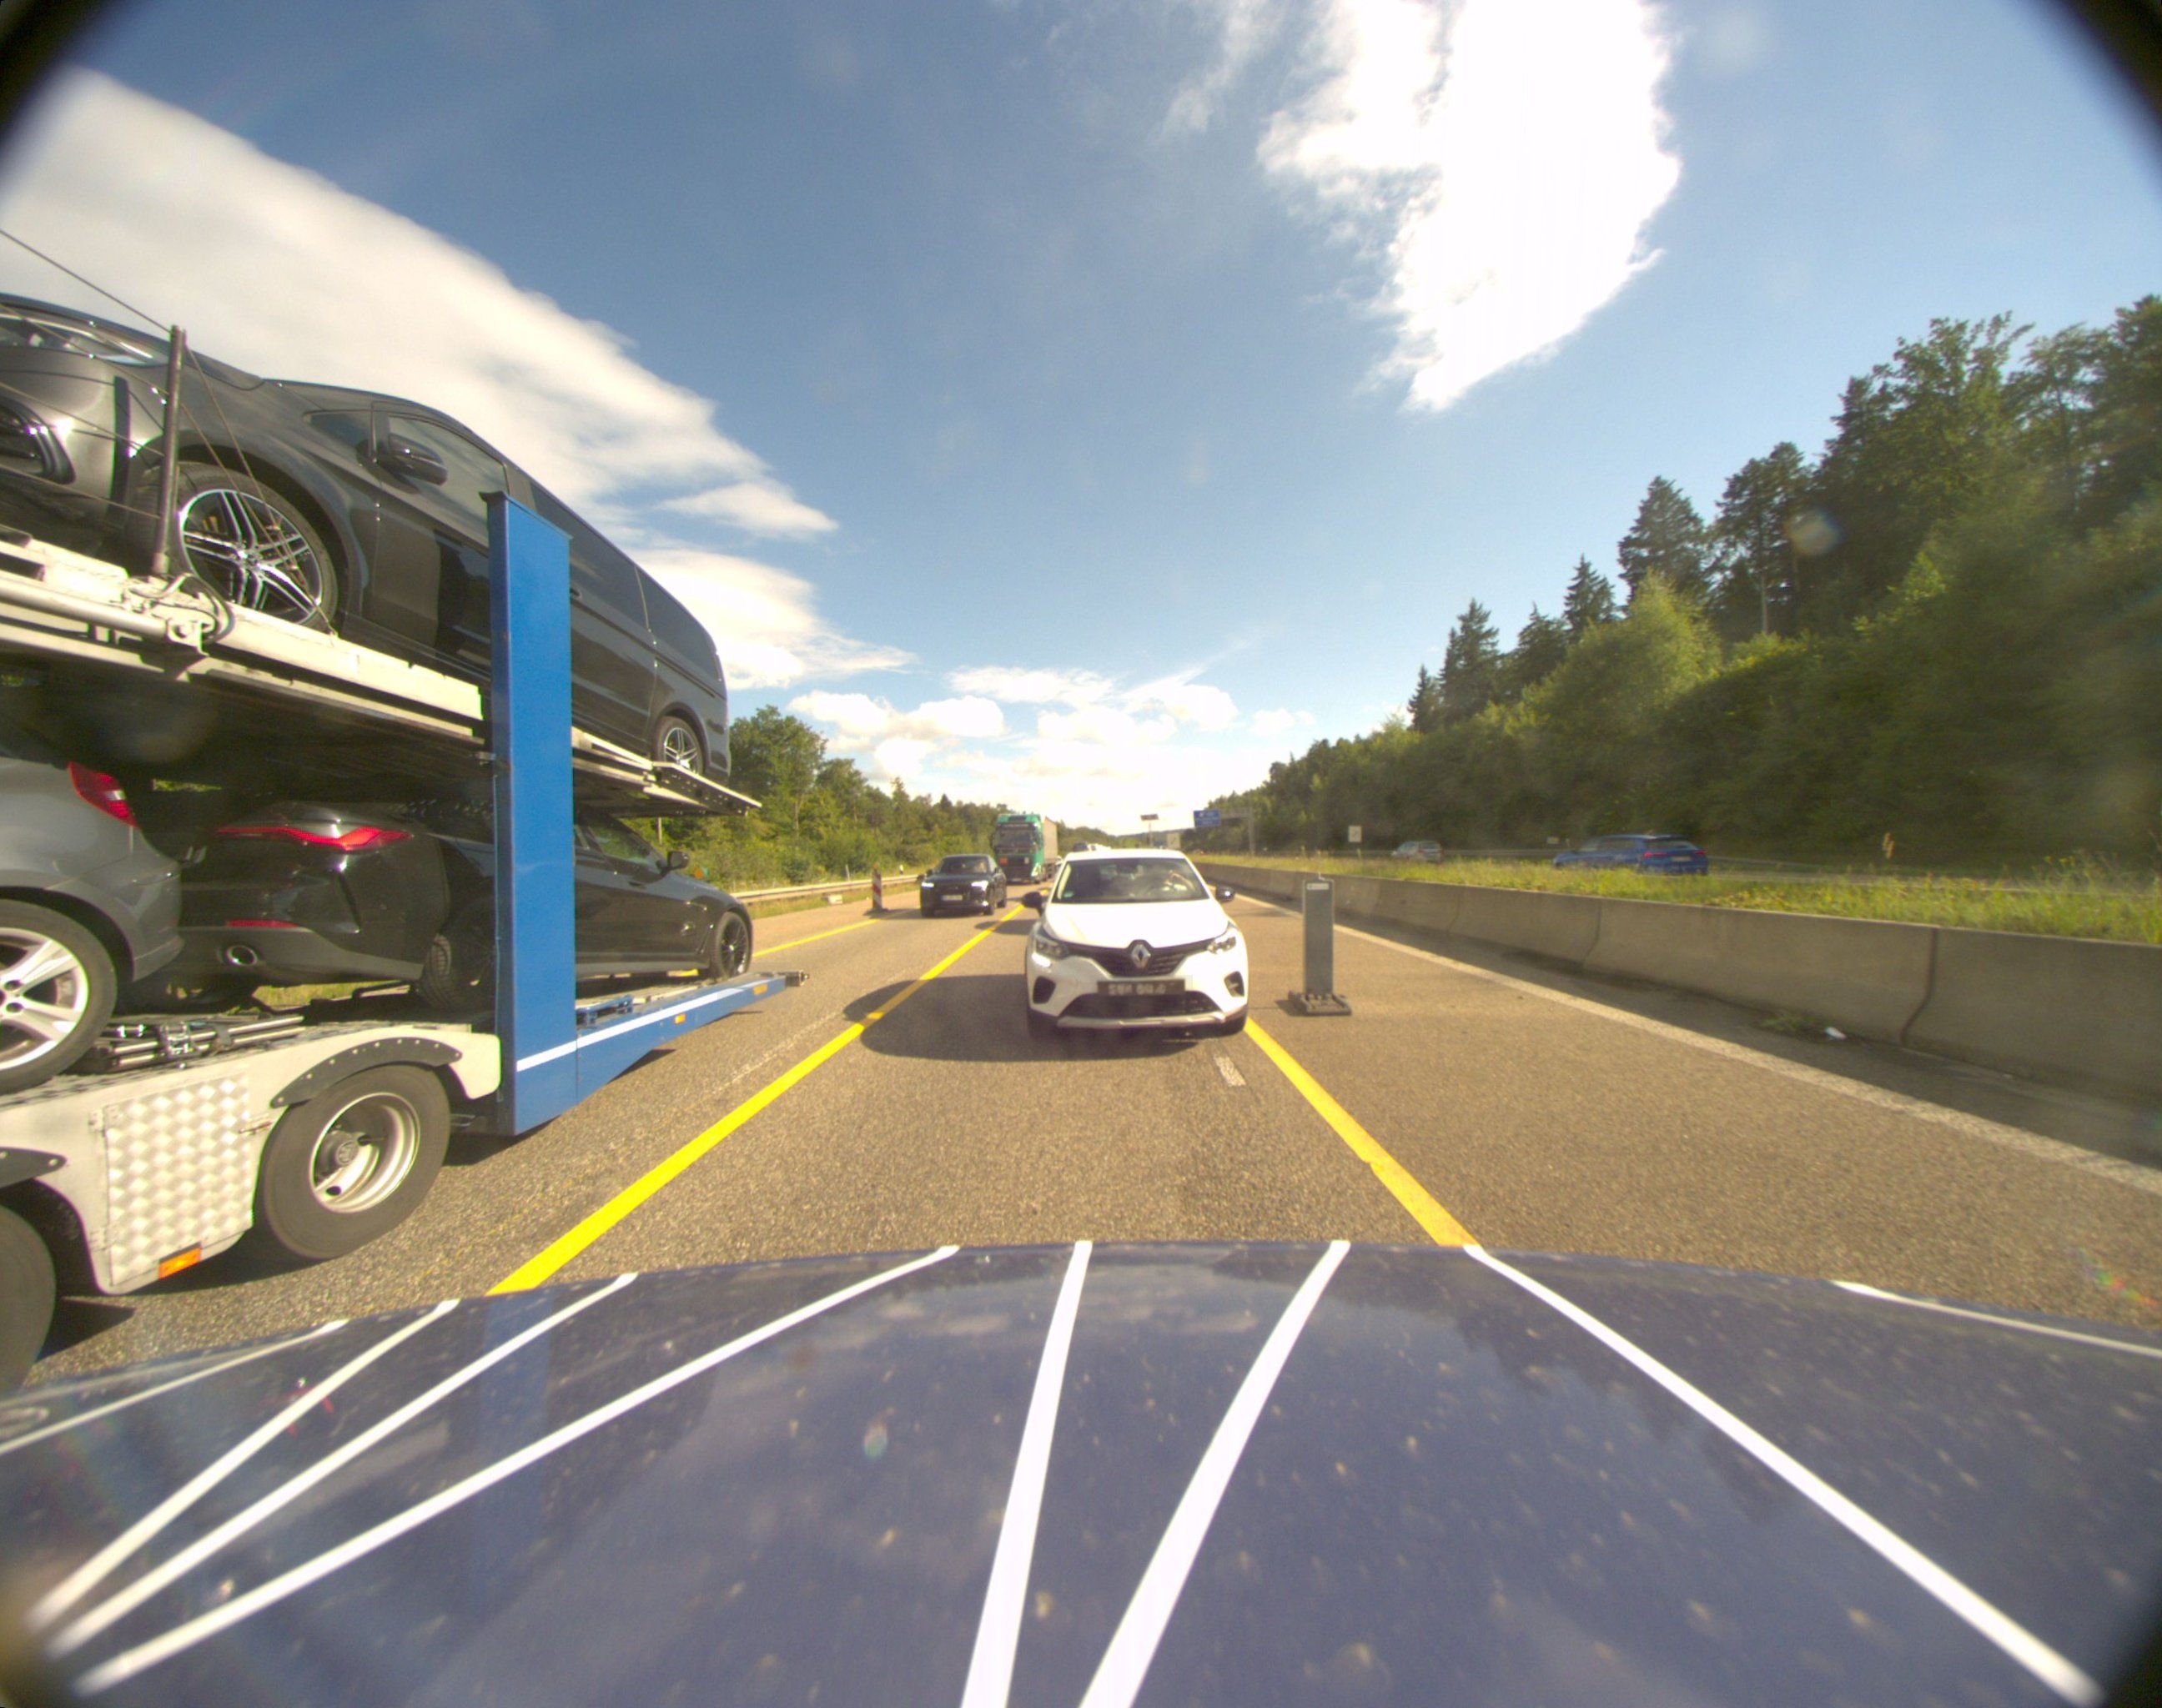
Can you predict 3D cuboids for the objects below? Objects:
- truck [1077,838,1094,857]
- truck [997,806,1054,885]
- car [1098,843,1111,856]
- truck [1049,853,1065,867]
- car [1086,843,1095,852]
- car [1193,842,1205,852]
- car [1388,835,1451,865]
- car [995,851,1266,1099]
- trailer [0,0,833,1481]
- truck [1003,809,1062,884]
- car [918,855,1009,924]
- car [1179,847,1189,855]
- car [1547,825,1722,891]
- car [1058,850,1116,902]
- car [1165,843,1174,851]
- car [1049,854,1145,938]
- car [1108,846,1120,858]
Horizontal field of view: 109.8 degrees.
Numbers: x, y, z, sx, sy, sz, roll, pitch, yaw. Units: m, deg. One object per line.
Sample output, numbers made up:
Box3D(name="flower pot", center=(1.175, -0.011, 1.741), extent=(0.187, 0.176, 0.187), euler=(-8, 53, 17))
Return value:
Box3D(name="truck", center=(0.781, -1.132, 135.127), extent=(2.576, 3.168, 6.802), euler=(-2, 1, 3))
Box3D(name="truck", center=(-3.056, -0.468, 43.446), extent=(2.528, 4.076, 6.855), euler=(-2, 1, 0))
Box3D(name="car", center=(3.695, -0.676, 120.525), extent=(1.998, 2.002, 3.999), euler=(-2, 1, 1))
Box3D(name="truck", center=(-2.272, 0.580, 72.217), extent=(1.468, 1.215, 3.087), euler=(-2, 1, -2))
Box3D(name="car", center=(2.053, -1.400, 166.228), extent=(1.750, 1.787, 3.999), euler=(-2, 1, 0))
Box3D(name="car", center=(25.595, -1.564, 164.628), extent=(1.998, 2.002, 3.999), euler=(-2, 1, 1))
Box3D(name="car", center=(19.344, -0.240, 43.612), extent=(1.782, 1.593, 4.017), euler=(-2, 1, 1))
Box3D(name="car", center=(0.361, 0.817, 7.172), extent=(1.782, 1.593, 4.017), euler=(-2, 1, 1))
Box3D(name="trailer", center=(-4.800, -0.353, 0.144), extent=(3.735, 4.172, 16.225), euler=(-2, 1, 1))
Box3D(name="truck", center=(-2.912, -0.593, 49.963), extent=(2.470, 4.120, 14.207), euler=(-2, 1, 1))
Box3D(name="car", center=(-3.159, 0.897, 21.248), extent=(1.782, 1.593, 4.293), euler=(-2, 1, 1))
Box3D(name="car", center=(27.418, -0.736, 202.701), extent=(1.998, 2.002, 3.999), euler=(-2, 1, 1))
Box3D(name="car", center=(15.249, 0.072, 21.276), extent=(1.782, 1.593, 4.311), euler=(-2, 1, 1))
Box3D(name="car", center=(0.217, 0.702, 26.450), extent=(1.782, 1.593, 4.017), euler=(-2, 1, 1))
Box3D(name="car", center=(23.319, -1.817, 200.865), extent=(1.998, 2.002, 3.999), euler=(-2, 1, 1))
Box3D(name="car", center=(0.334, 0.805, 16.471), extent=(1.782, 1.468, 4.017), euler=(-2, 1, 1))
Box3D(name="car", center=(5.994, -0.367, 136.672), extent=(1.998, 2.002, 4.000), euler=(-2, 1, 3))
